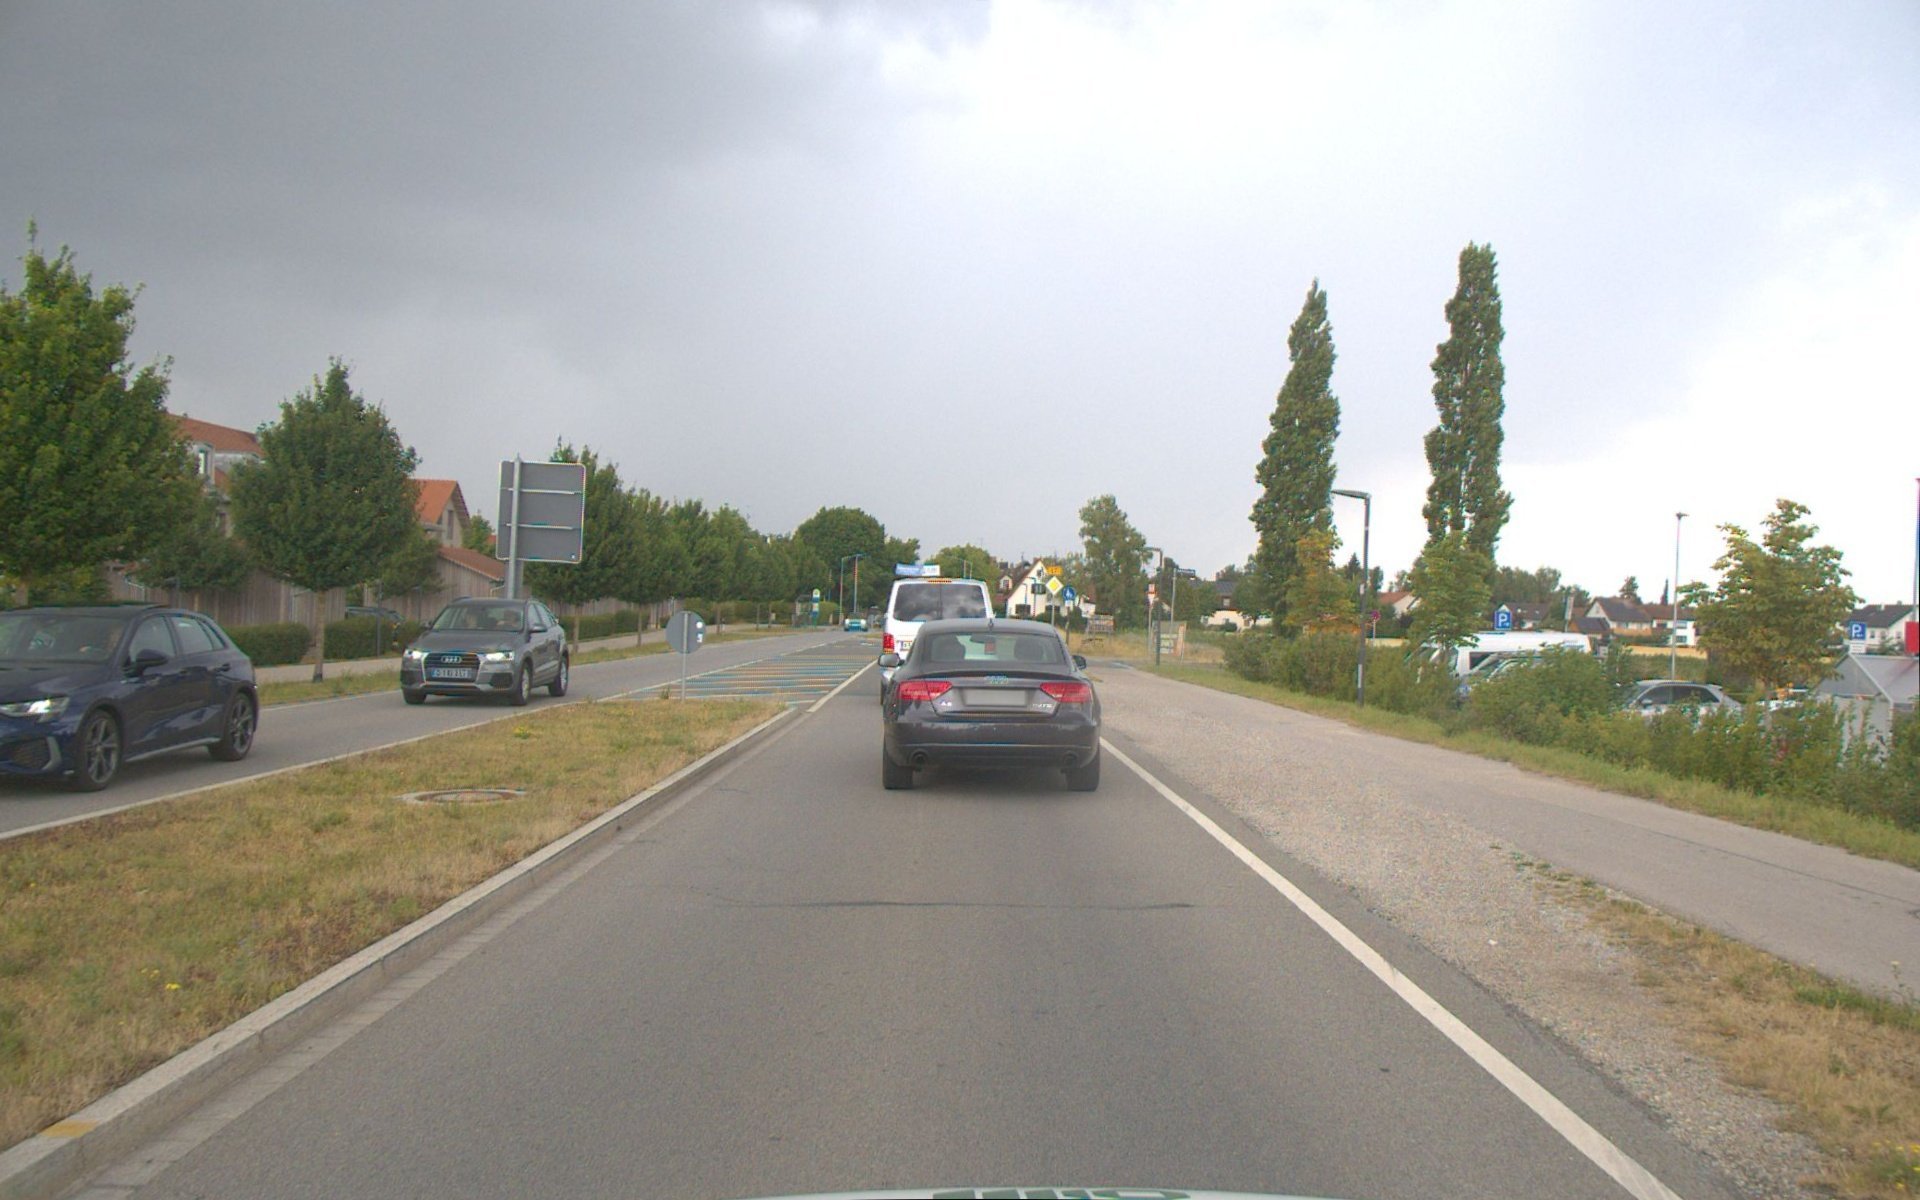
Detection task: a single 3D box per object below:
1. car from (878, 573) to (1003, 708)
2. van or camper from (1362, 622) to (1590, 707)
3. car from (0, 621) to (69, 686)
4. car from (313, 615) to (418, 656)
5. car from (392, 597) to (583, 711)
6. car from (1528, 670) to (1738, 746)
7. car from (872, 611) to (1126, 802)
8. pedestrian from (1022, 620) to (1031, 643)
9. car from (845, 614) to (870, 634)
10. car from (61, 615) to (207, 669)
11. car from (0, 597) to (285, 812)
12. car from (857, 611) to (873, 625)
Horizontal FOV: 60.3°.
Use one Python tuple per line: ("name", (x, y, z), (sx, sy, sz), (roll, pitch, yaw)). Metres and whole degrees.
("car", (-0.376, 0.611, 26.905), (1.789, 1.947, 3.998), (3, 0, -2))
("van or camper", (15.806, 1.953, 50.873), (6.338, 2.507, 2.280), (0, 0, -4))
("car", (-23.853, 1.223, 38.839), (4.805, 1.455, 1.906), (0, 0, 0))
("car", (-22.701, 1.363, 63.241), (3.443, 1.515, 1.563), (0, 0, -1))
("car", (-7.225, 0.776, 25.723), (1.788, 1.610, 4.215), (0, 0, -1))
("car", (15.668, 2.502, 38.664), (4.063, 1.626, 2.079), (0, 0, -3))
("car", (0.186, 0.819, 14.782), (1.790, 1.413, 4.382), (0, 0, -5))
("pedestrian", (4.513, 2.115, 112.369), (0.611, 1.551, 0.679), (0, 0, -1))
("car", (-8.007, 1.866, 129.588), (1.734, 1.469, 3.999), (0, 0, -1))
("car", (-24.009, 1.206, 48.142), (3.443, 1.515, 1.563), (0, 0, -1))
("car", (-7.420, 0.738, 13.840), (1.788, 1.515, 4.349), (0, 0, -1))
("car", (-10.126, 1.875, 176.910), (1.620, 1.454, 3.601), (0, 0, -1))
